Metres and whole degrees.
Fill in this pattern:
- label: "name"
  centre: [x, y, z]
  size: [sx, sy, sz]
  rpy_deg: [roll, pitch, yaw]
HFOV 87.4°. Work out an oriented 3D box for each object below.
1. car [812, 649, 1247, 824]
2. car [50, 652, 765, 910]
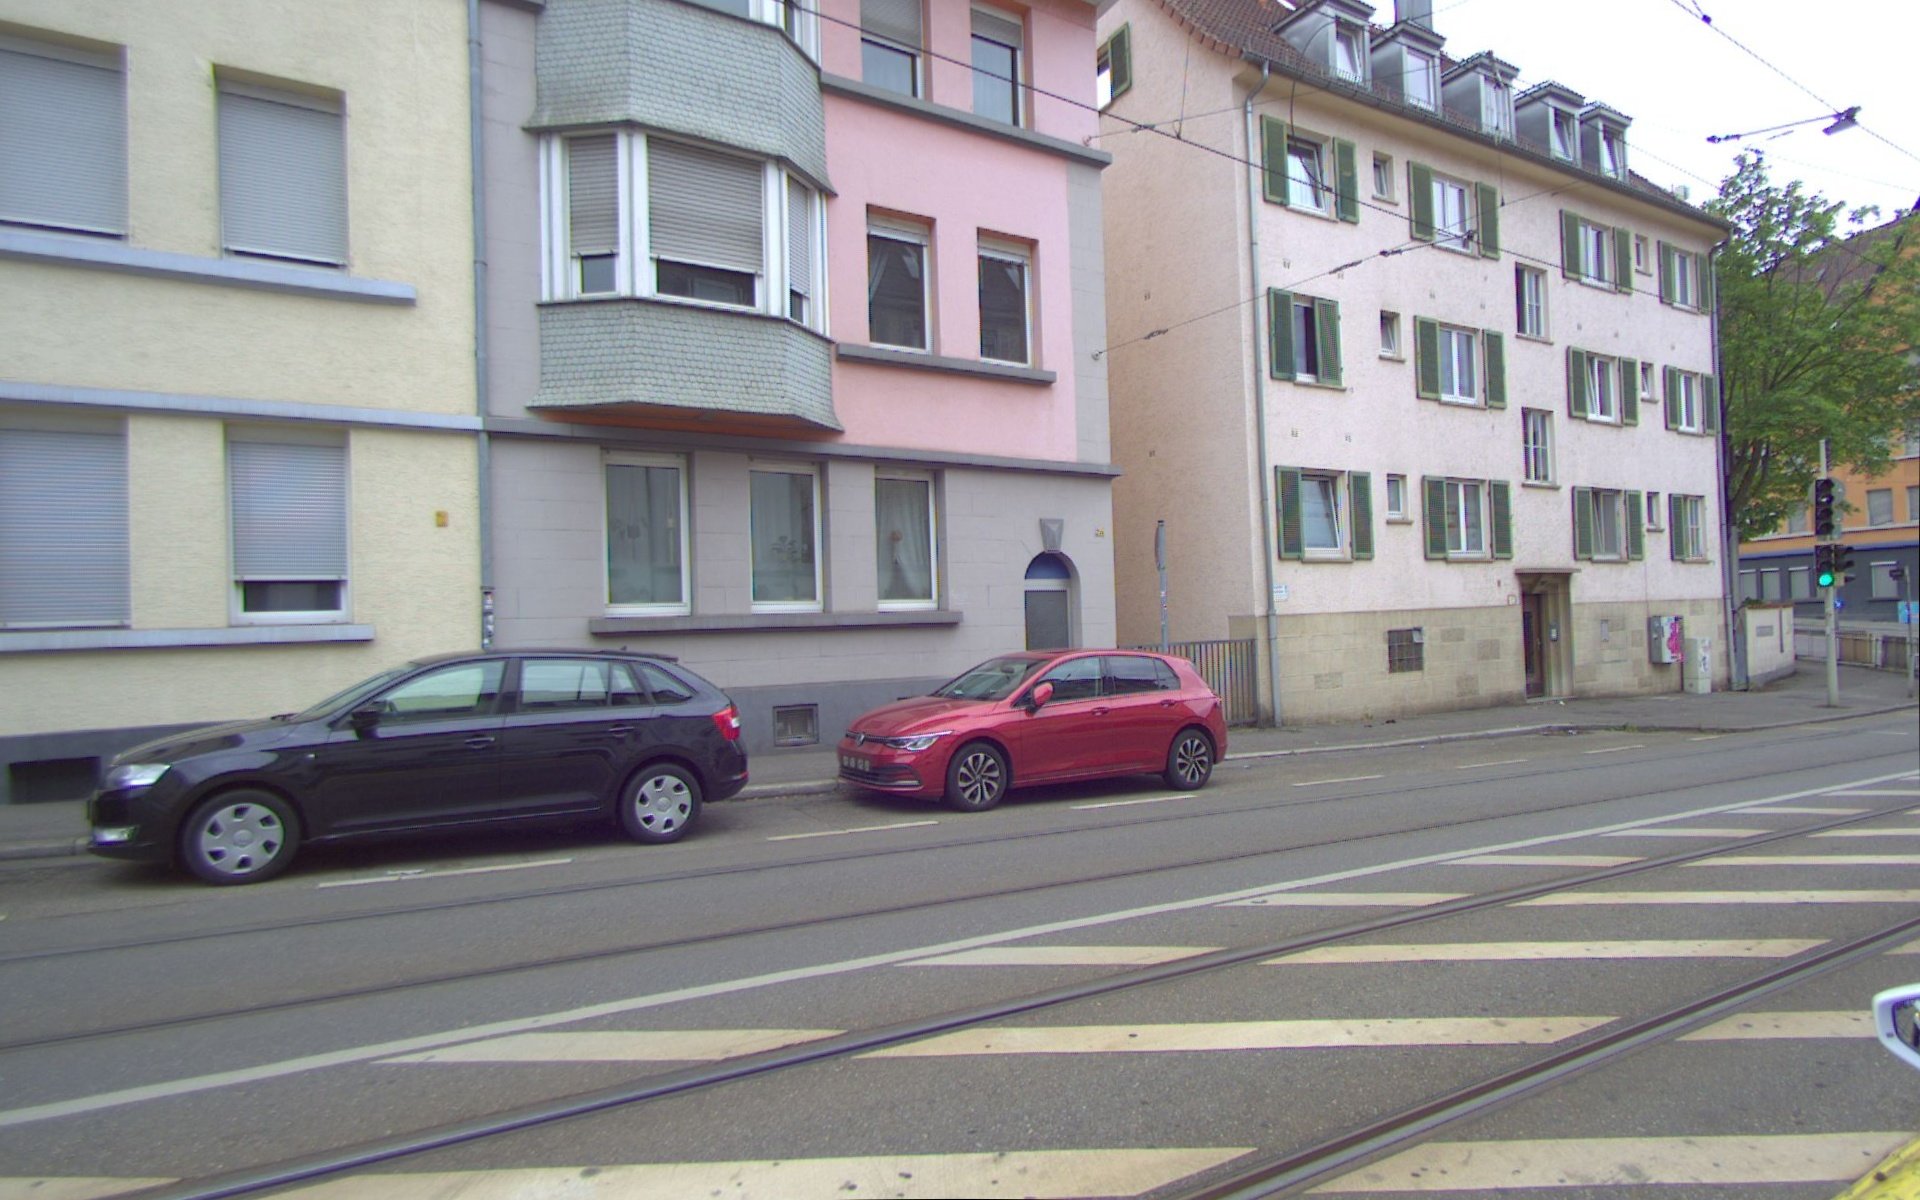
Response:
- label: "car"
  centre: [0.771, 1.261, 10.335]
  size: [4.211, 1.457, 1.777]
  rpy_deg: [1, -4, -30]
- label: "car"
  centre: [-3.763, 1.137, 7.535]
  size: [4.192, 1.429, 1.777]
  rpy_deg: [1, -4, -30]
